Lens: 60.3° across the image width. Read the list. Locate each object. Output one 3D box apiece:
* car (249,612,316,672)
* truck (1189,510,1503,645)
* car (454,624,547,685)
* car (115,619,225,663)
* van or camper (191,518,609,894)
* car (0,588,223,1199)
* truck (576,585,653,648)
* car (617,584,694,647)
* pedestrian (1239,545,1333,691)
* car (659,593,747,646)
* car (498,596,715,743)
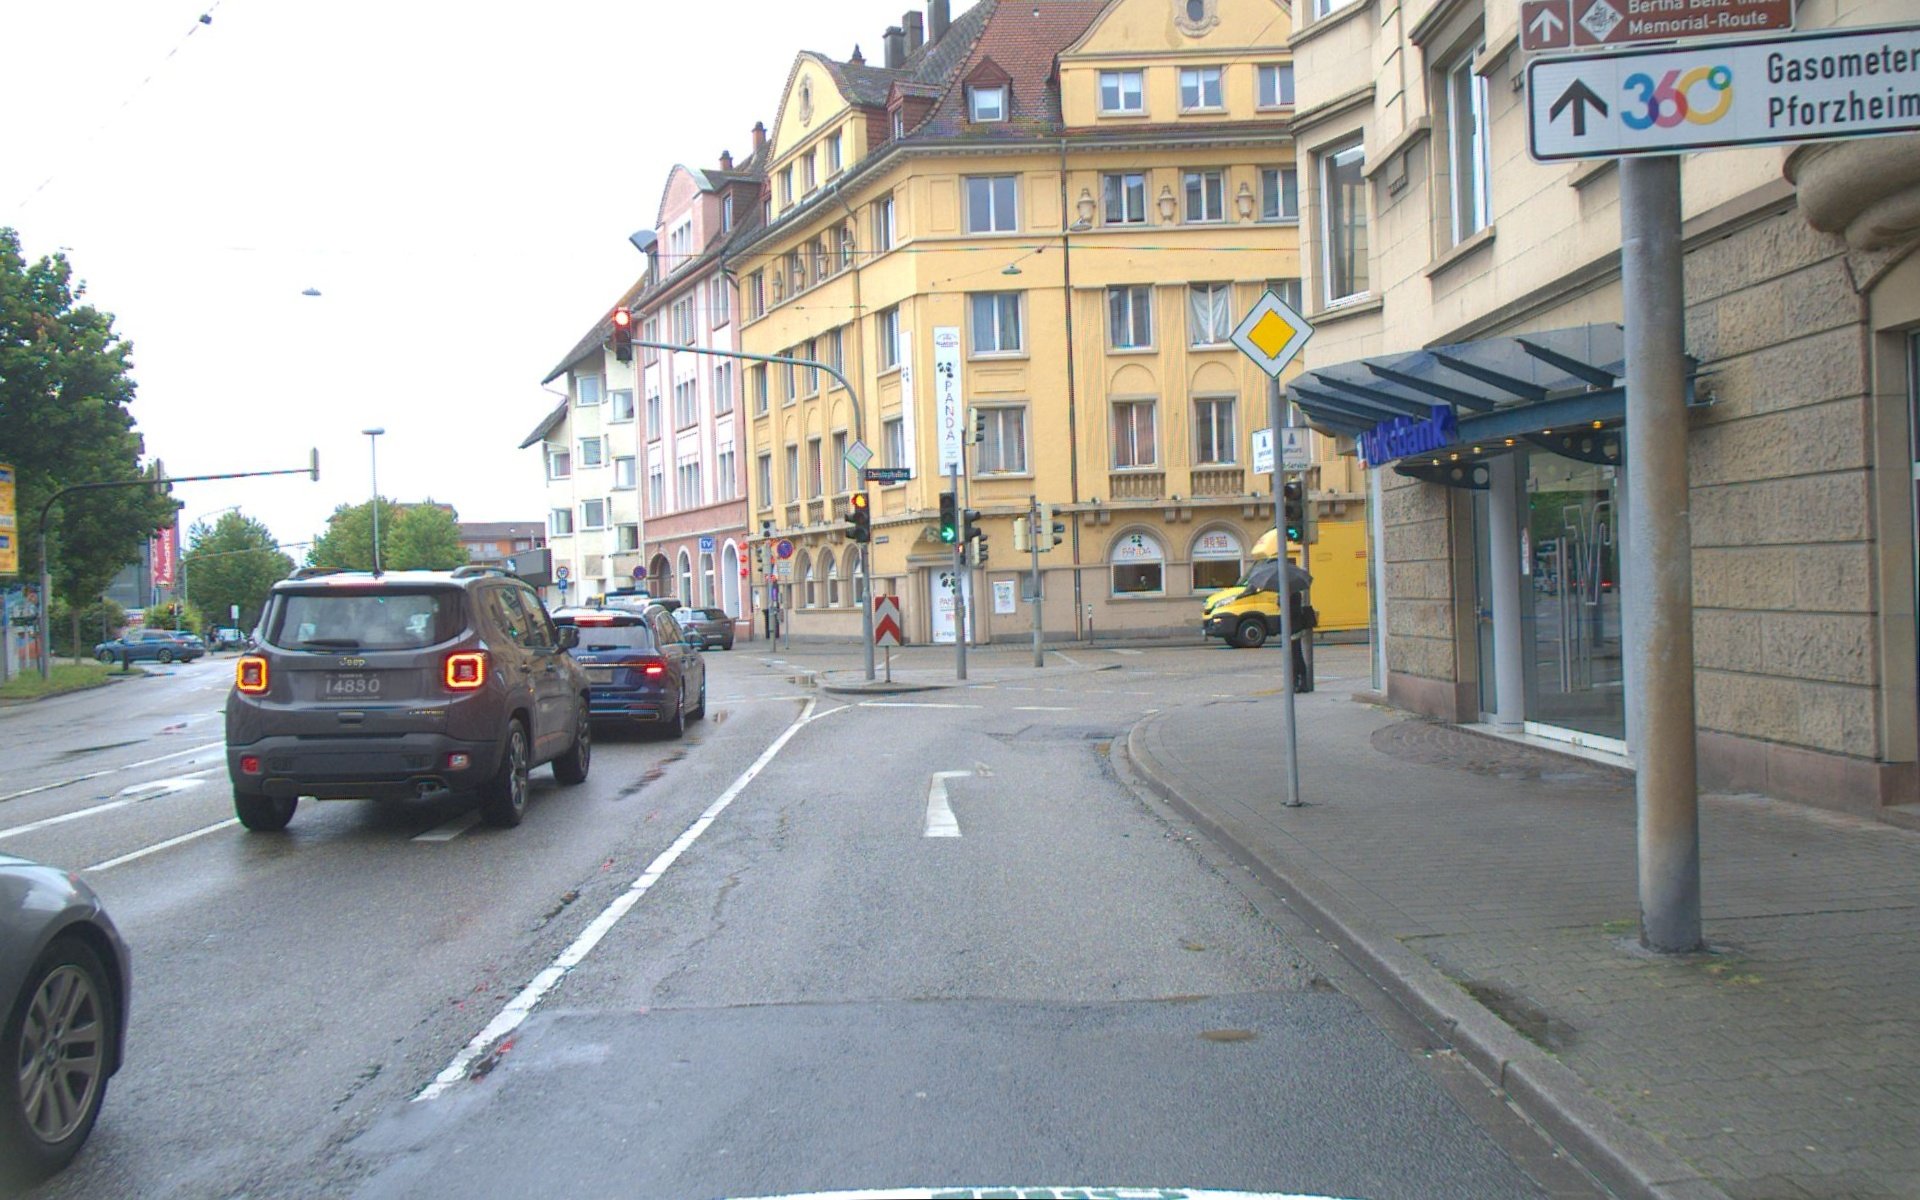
[{"bbox_3d":[-20.676,1.246,50.525,1.819,1.713,3.972,0,0,-22],"label":"car"},{"bbox_3d":[9.155,-0.521,39.635,6.948,2.901,2.082,-2,-1,-2],"label":"truck"},{"bbox_3d":[-15.196,1.775,54.575,1.974,1.847,3.958,-2,0,-31],"label":"car"},{"bbox_3d":[-35.439,1.840,74.270,3.908,1.780,1.999,-2,0,-3],"label":"car"},{"bbox_3d":[-3.781,0.615,11.963,1.818,2.184,4.139,-2,0,-4],"label":"van or camper"},{"bbox_3d":[-3.004,0.744,2.703,1.763,1.489,4.368,-2,0,-3],"label":"car"},{"bbox_3d":[-13.864,0.637,66.248,2.002,2.431,4.200,-1,0,-26],"label":"truck"},{"bbox_3d":[-11.268,0.544,61.063,1.741,2.218,3.966,-1,0,-26],"label":"car"},{"bbox_3d":[4.480,0.235,22.695,1.036,1.937,1.025,-2,0,23],"label":"pedestrian"},{"bbox_3d":[-8.549,0.612,54.772,1.855,1.665,3.968,-1,0,-25],"label":"car"},{"bbox_3d":[-3.886,0.715,18.910,1.767,1.430,4.679,-1,0,-4],"label":"car"}]
